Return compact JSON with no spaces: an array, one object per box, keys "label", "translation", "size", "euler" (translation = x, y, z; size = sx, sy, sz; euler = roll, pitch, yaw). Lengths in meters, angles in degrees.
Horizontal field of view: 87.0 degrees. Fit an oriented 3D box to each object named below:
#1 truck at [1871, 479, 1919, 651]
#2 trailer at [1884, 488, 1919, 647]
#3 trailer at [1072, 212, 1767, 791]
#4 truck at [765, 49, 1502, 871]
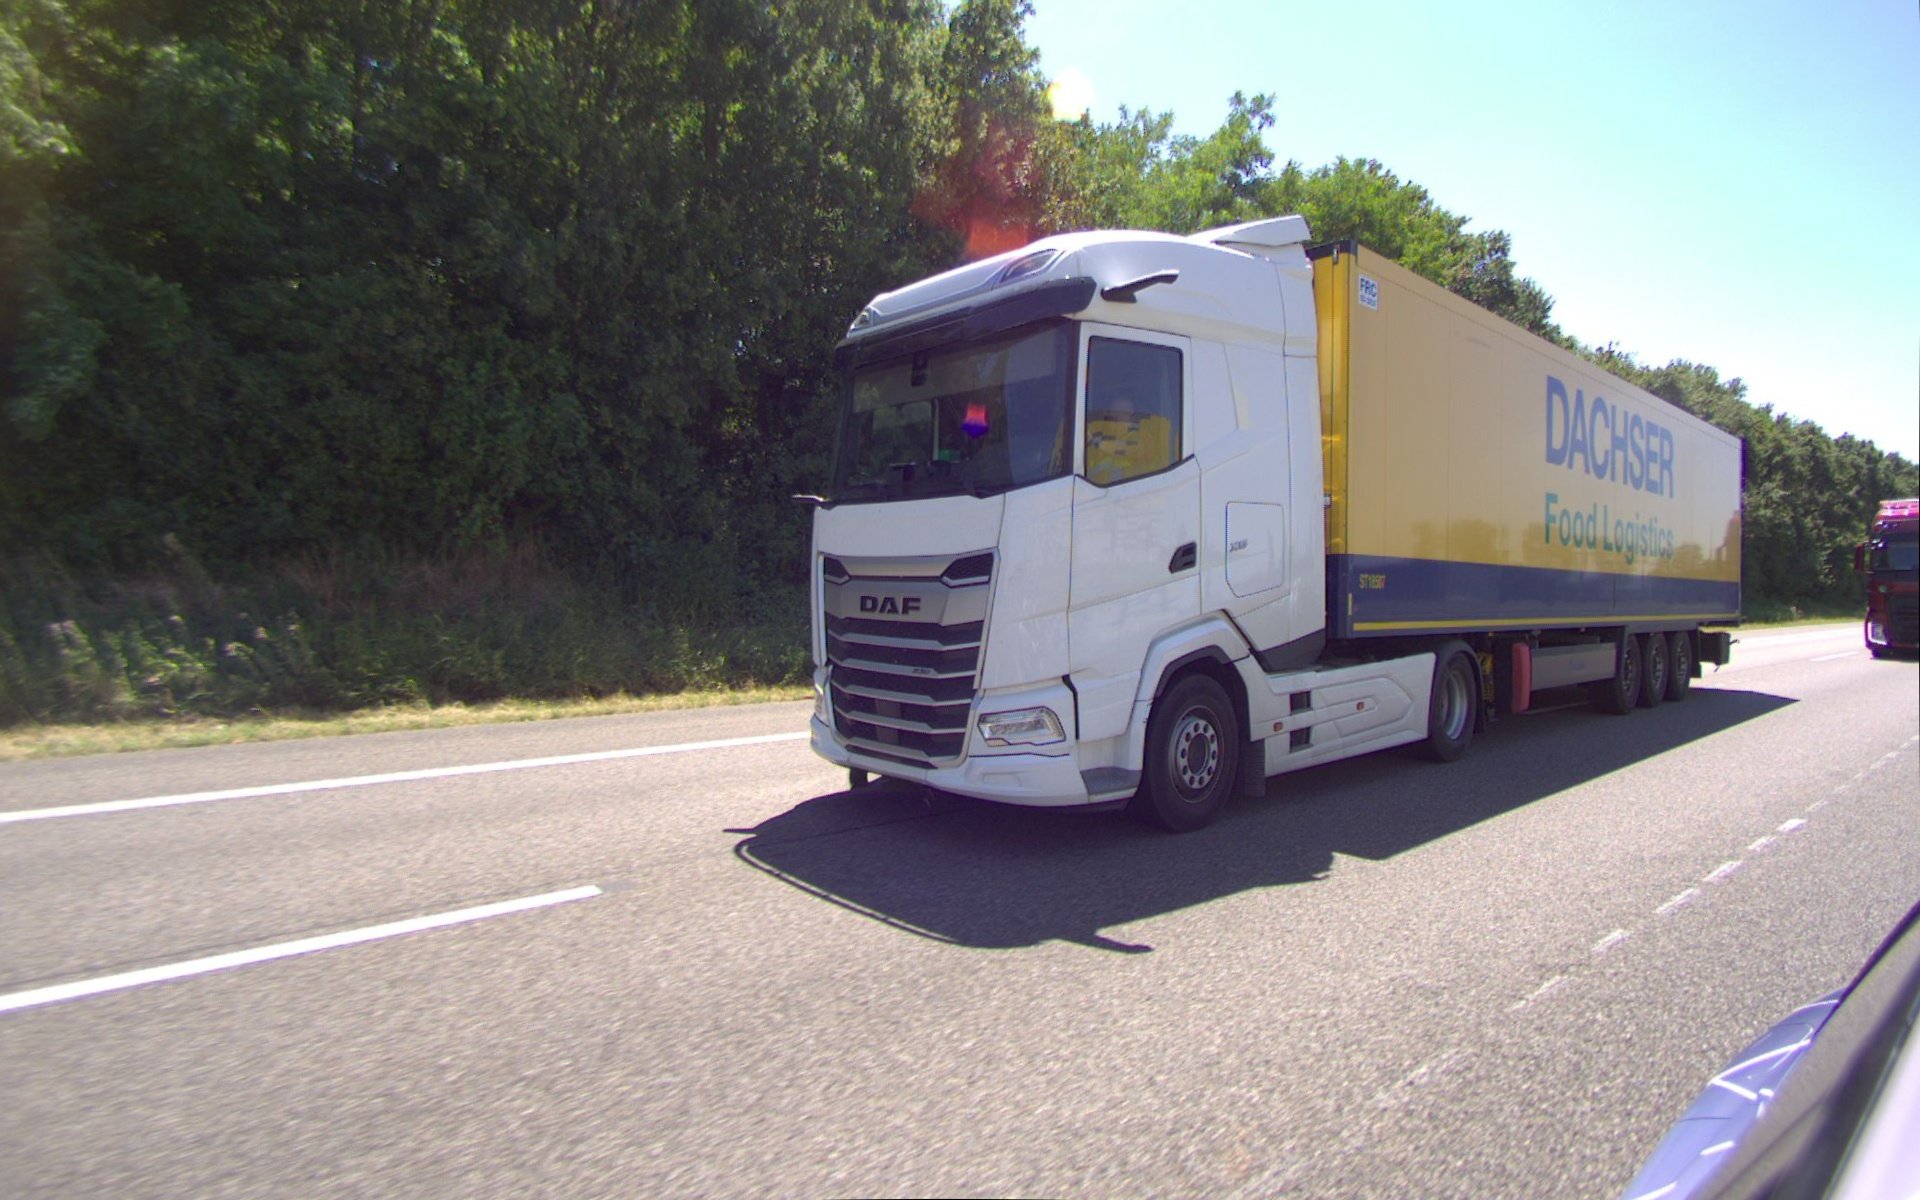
[{"label":"truck","translation":[25.389,-0.835,25.664],"size":[5.673,4.121,2.866],"euler":[0,0,-42]},{"label":"trailer","translation":[30.427,-0.858,30.318],"size":[13.600,4.121,2.882],"euler":[0,0,-43]},{"label":"trailer","translation":[6.986,-0.737,12.742],"size":[13.596,4.121,2.682],"euler":[0,0,-42]},{"label":"truck","translation":[1.733,-0.727,8.066],"size":[5.944,4.121,2.682],"euler":[0,0,-41]}]
